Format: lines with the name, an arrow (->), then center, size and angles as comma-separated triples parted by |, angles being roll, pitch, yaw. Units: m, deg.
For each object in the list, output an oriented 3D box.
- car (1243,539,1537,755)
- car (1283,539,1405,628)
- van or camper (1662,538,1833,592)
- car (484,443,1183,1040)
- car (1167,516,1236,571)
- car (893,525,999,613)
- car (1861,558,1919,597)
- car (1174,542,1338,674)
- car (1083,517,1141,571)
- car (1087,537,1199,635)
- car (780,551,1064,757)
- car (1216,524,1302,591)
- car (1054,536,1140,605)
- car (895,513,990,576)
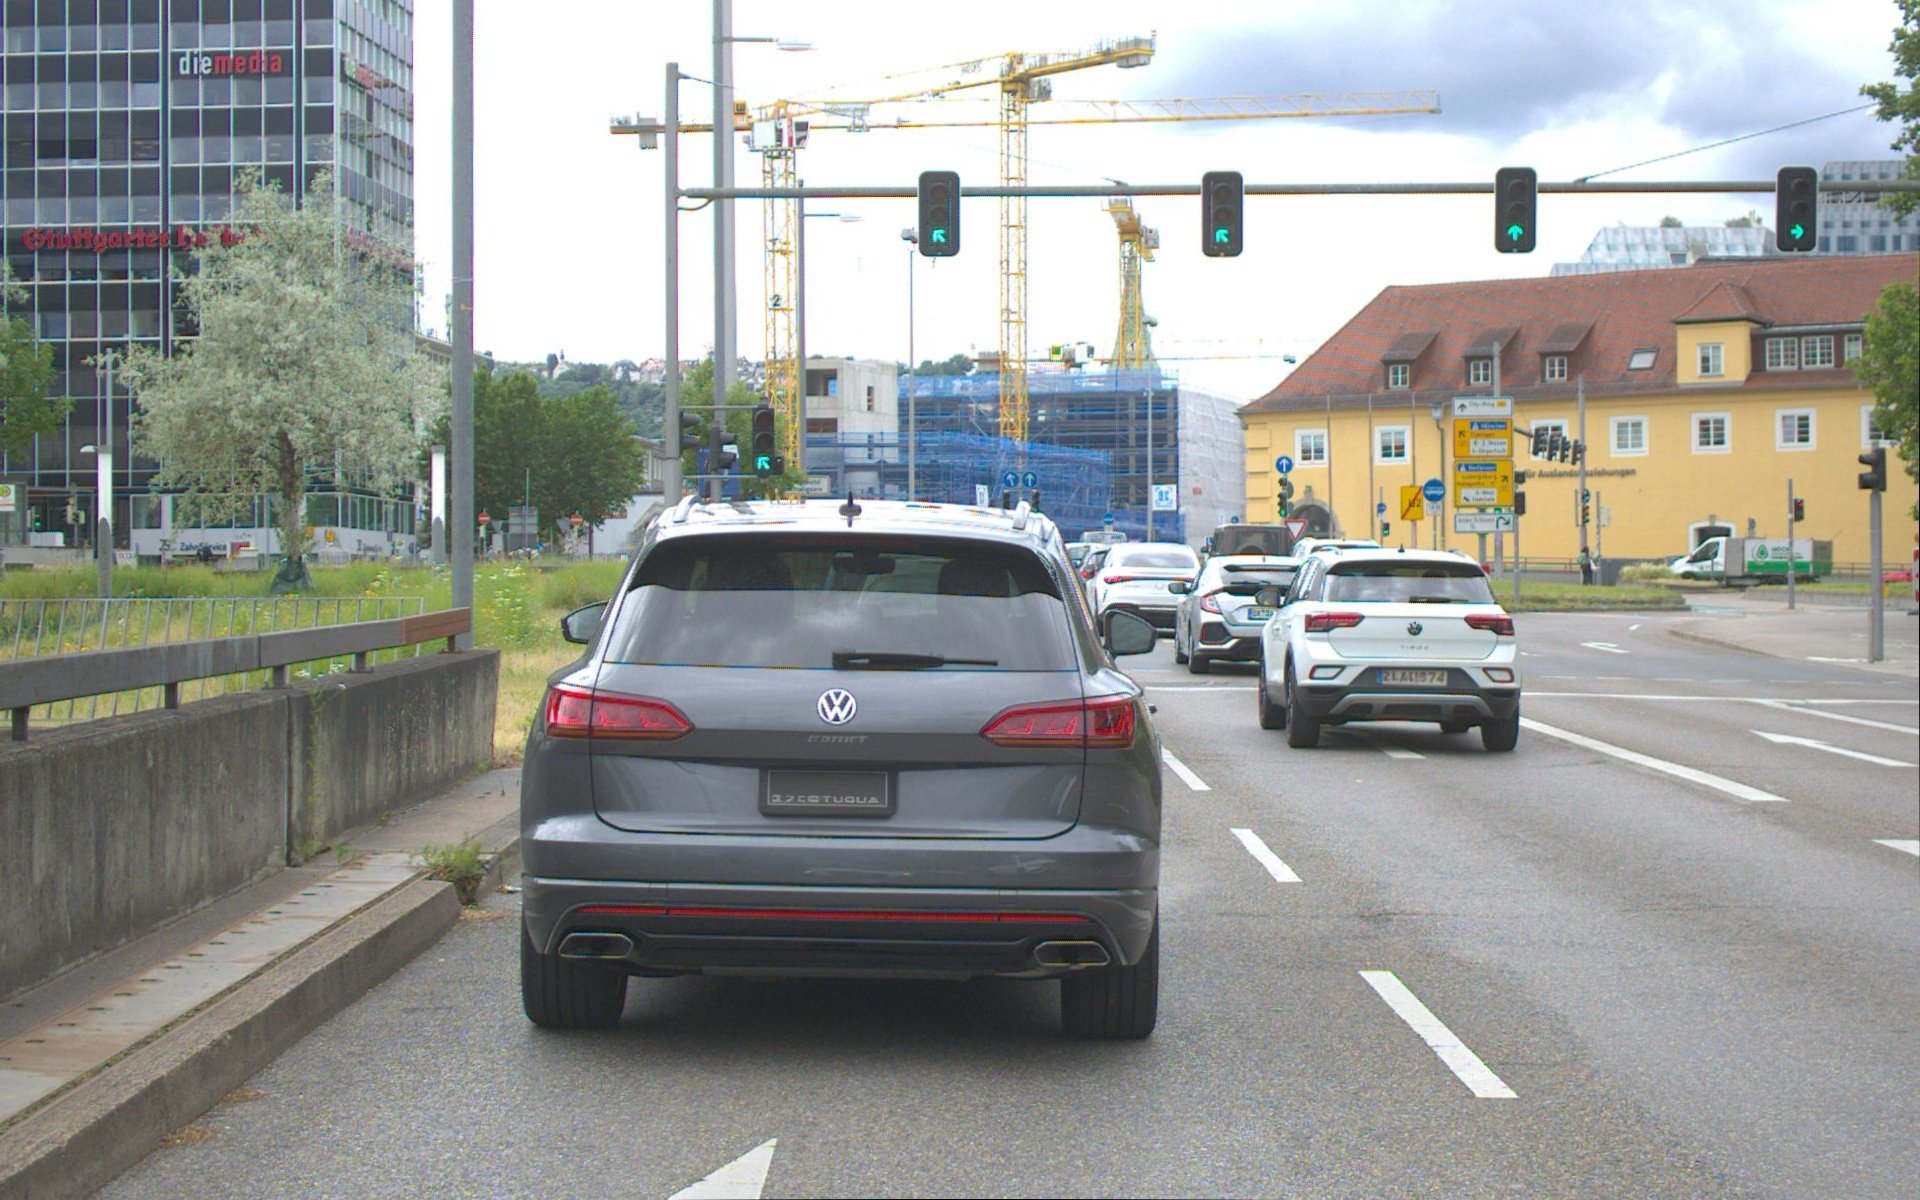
car -> 3.394, 0.317, 27.775 | 1.893, 1.580, 3.801 | 1, 1, 0
car -> 6.843, -0.317, 61.548 | 1.803, 1.497, 3.981 | 1, 1, 1
van or camper -> 29.891, -1.346, 130.584 | 6.018, 2.007, 2.015 | 1, 1, 36
car -> -0.353, 0.351, 11.610 | 1.933, 1.641, 4.000 | 1, 1, 0
car -> 6.774, -1.603, 96.627 | 1.719, 1.497, 3.981 | 1, 1, 1
car -> -0.234, -0.572, 61.320 | 1.814, 1.491, 3.906 | 1, 1, 0
car -> 35.717, -0.822, 126.563 | 4.686, 1.416, 1.594 | 1, 1, 32
car -> 3.593, 0.059, 42.313 | 1.719, 1.497, 4.144 | 1, 1, 1
car -> 5.727, -2.127, 129.766 | 1.993, 2.007, 4.000 | 1, 1, 0
car -> 3.009, -0.250, 55.870 | 1.719, 1.497, 3.981 | 1, 1, 4
car -> -0.268, 0.354, 26.234 | 1.993, 1.382, 4.000 | 0, 2, 0
car -> 6.975, -1.008, 80.557 | 1.719, 1.497, 3.981 | 1, 1, 1
car -> 3.491, -0.764, 88.389 | 2.139, 1.722, 4.070 | 1, 1, 1
car -> -0.477, -1.410, 86.548 | 2.244, 1.497, 4.612 | 1, 1, -2
